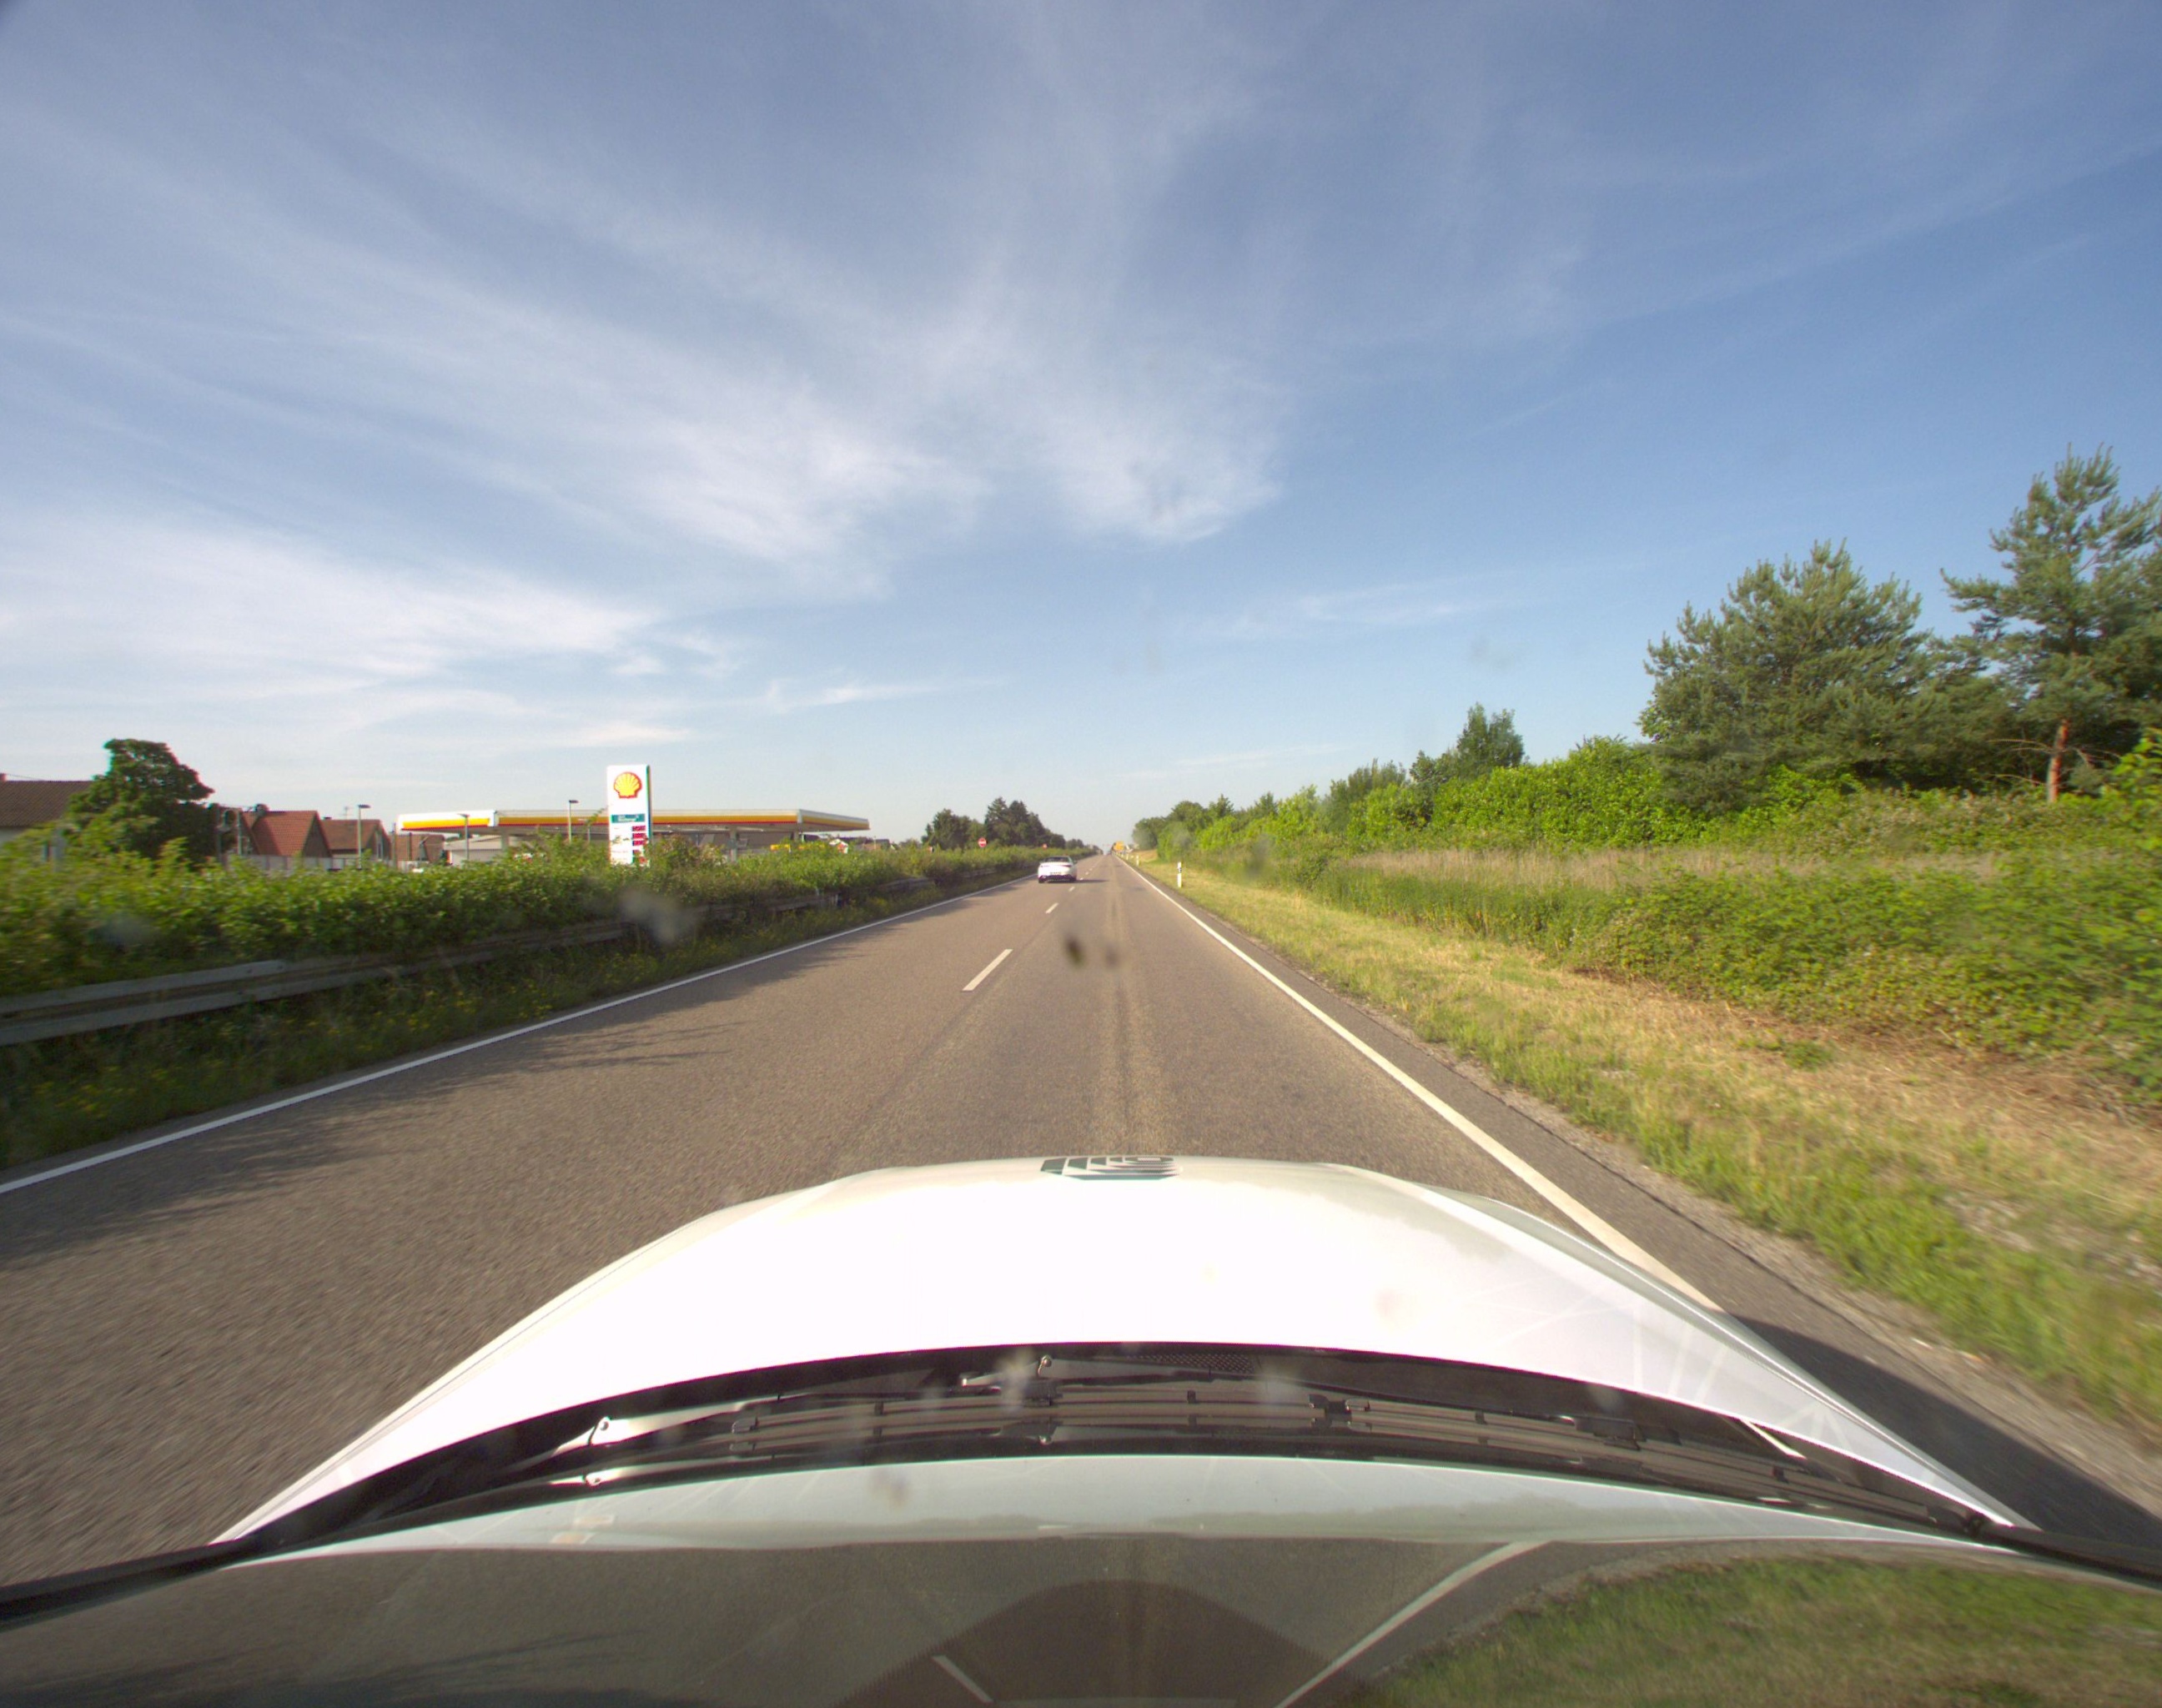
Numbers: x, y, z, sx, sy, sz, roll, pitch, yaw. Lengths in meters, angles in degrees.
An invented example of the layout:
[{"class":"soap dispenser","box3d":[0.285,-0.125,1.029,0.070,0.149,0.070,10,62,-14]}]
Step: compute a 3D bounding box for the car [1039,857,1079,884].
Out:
[{"class":"car","box3d":[-1.122,0.847,42.958,1.764,1.337,4.953,0,0,2]}]
